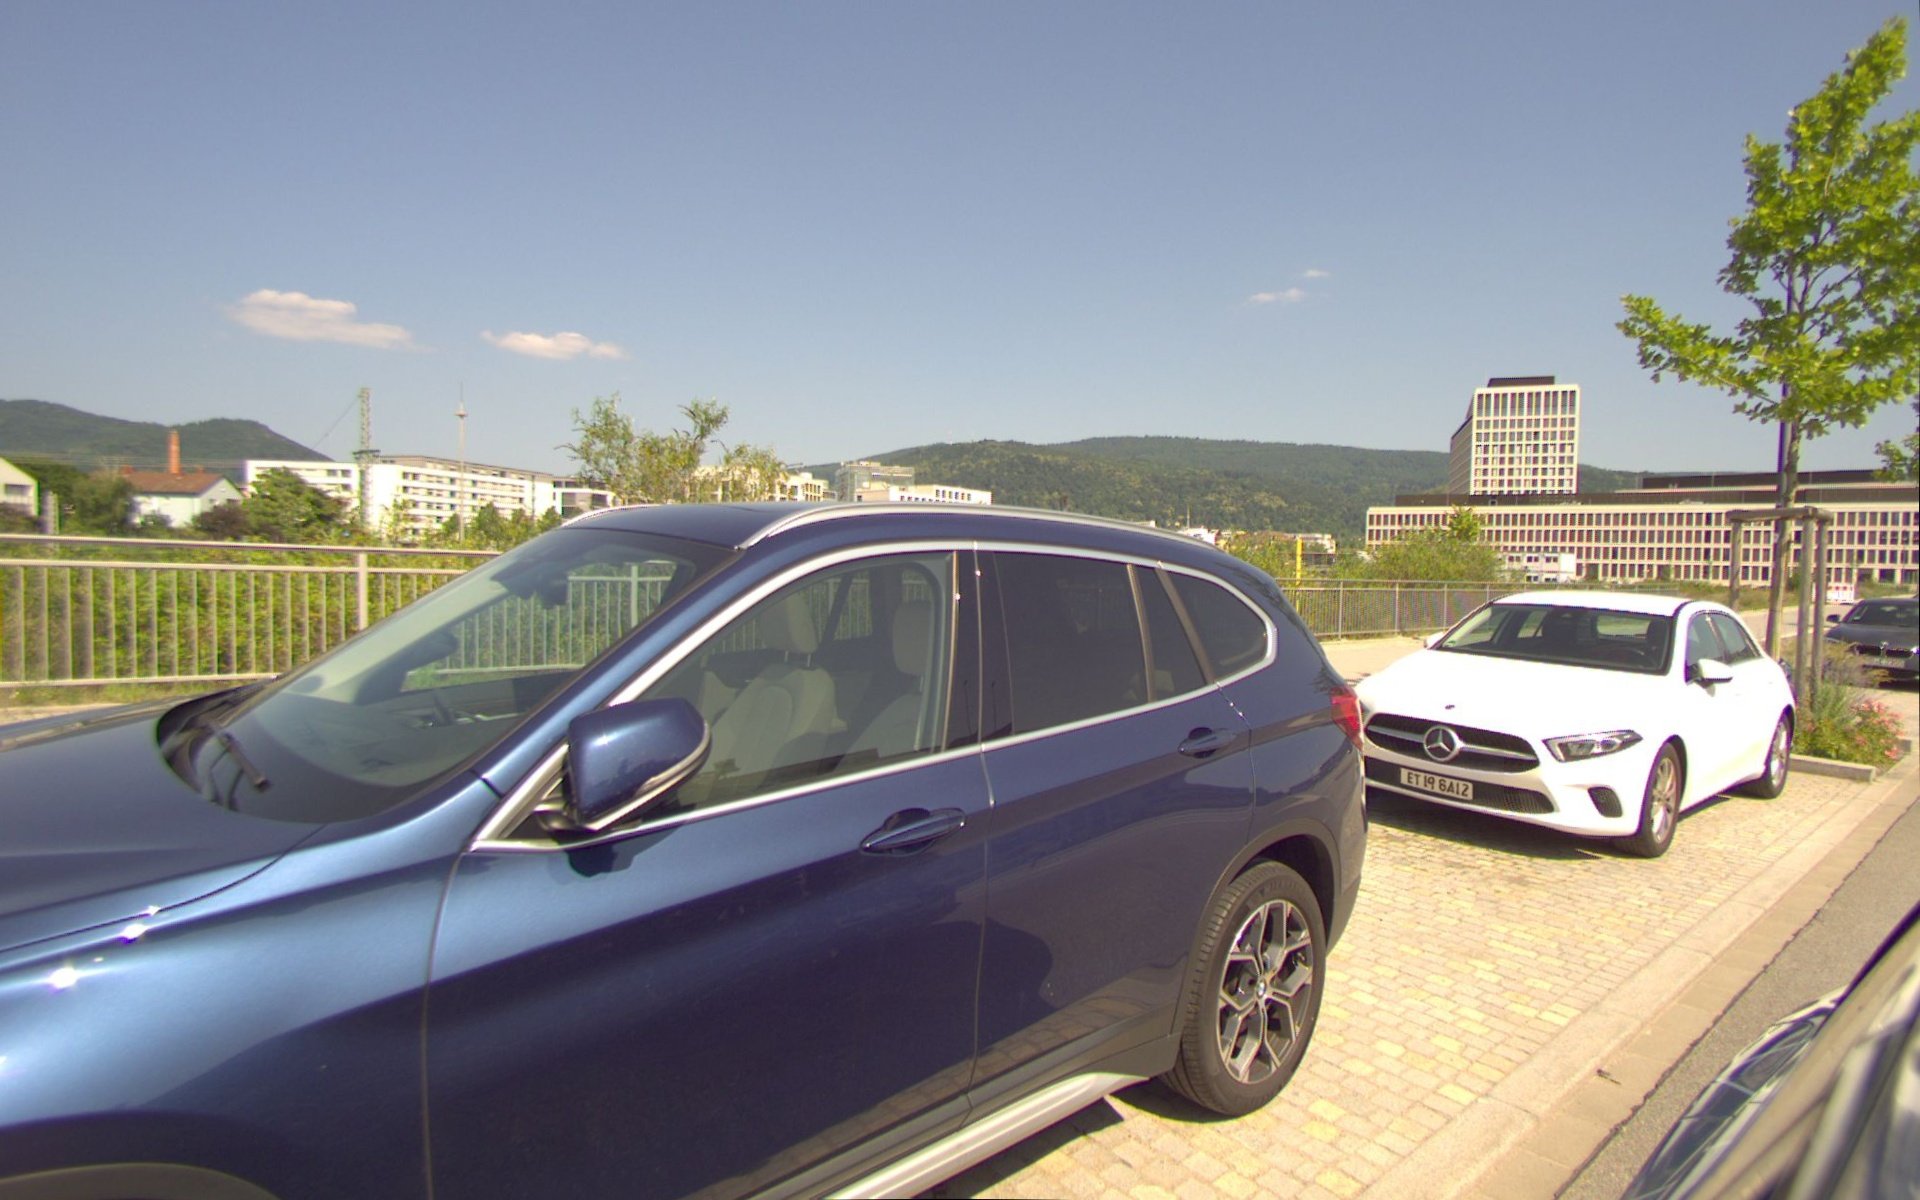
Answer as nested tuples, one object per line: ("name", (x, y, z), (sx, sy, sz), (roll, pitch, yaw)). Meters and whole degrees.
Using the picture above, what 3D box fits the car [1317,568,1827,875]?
("car", (4.379, 0.557, 6.958), (4.196, 1.390, 1.711), (-1, 5, -41))

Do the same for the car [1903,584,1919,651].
("car", (23.026, 0.430, 23.275), (2.954, 1.491, 1.569), (-1, 5, -41))

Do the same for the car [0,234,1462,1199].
("car", (-0.599, 0.415, 2.567), (4.196, 1.703, 1.808), (-1, 4, -41))

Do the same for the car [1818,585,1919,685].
("car", (15.934, 0.535, 16.891), (3.848, 1.449, 1.808), (-1, 5, -41))
